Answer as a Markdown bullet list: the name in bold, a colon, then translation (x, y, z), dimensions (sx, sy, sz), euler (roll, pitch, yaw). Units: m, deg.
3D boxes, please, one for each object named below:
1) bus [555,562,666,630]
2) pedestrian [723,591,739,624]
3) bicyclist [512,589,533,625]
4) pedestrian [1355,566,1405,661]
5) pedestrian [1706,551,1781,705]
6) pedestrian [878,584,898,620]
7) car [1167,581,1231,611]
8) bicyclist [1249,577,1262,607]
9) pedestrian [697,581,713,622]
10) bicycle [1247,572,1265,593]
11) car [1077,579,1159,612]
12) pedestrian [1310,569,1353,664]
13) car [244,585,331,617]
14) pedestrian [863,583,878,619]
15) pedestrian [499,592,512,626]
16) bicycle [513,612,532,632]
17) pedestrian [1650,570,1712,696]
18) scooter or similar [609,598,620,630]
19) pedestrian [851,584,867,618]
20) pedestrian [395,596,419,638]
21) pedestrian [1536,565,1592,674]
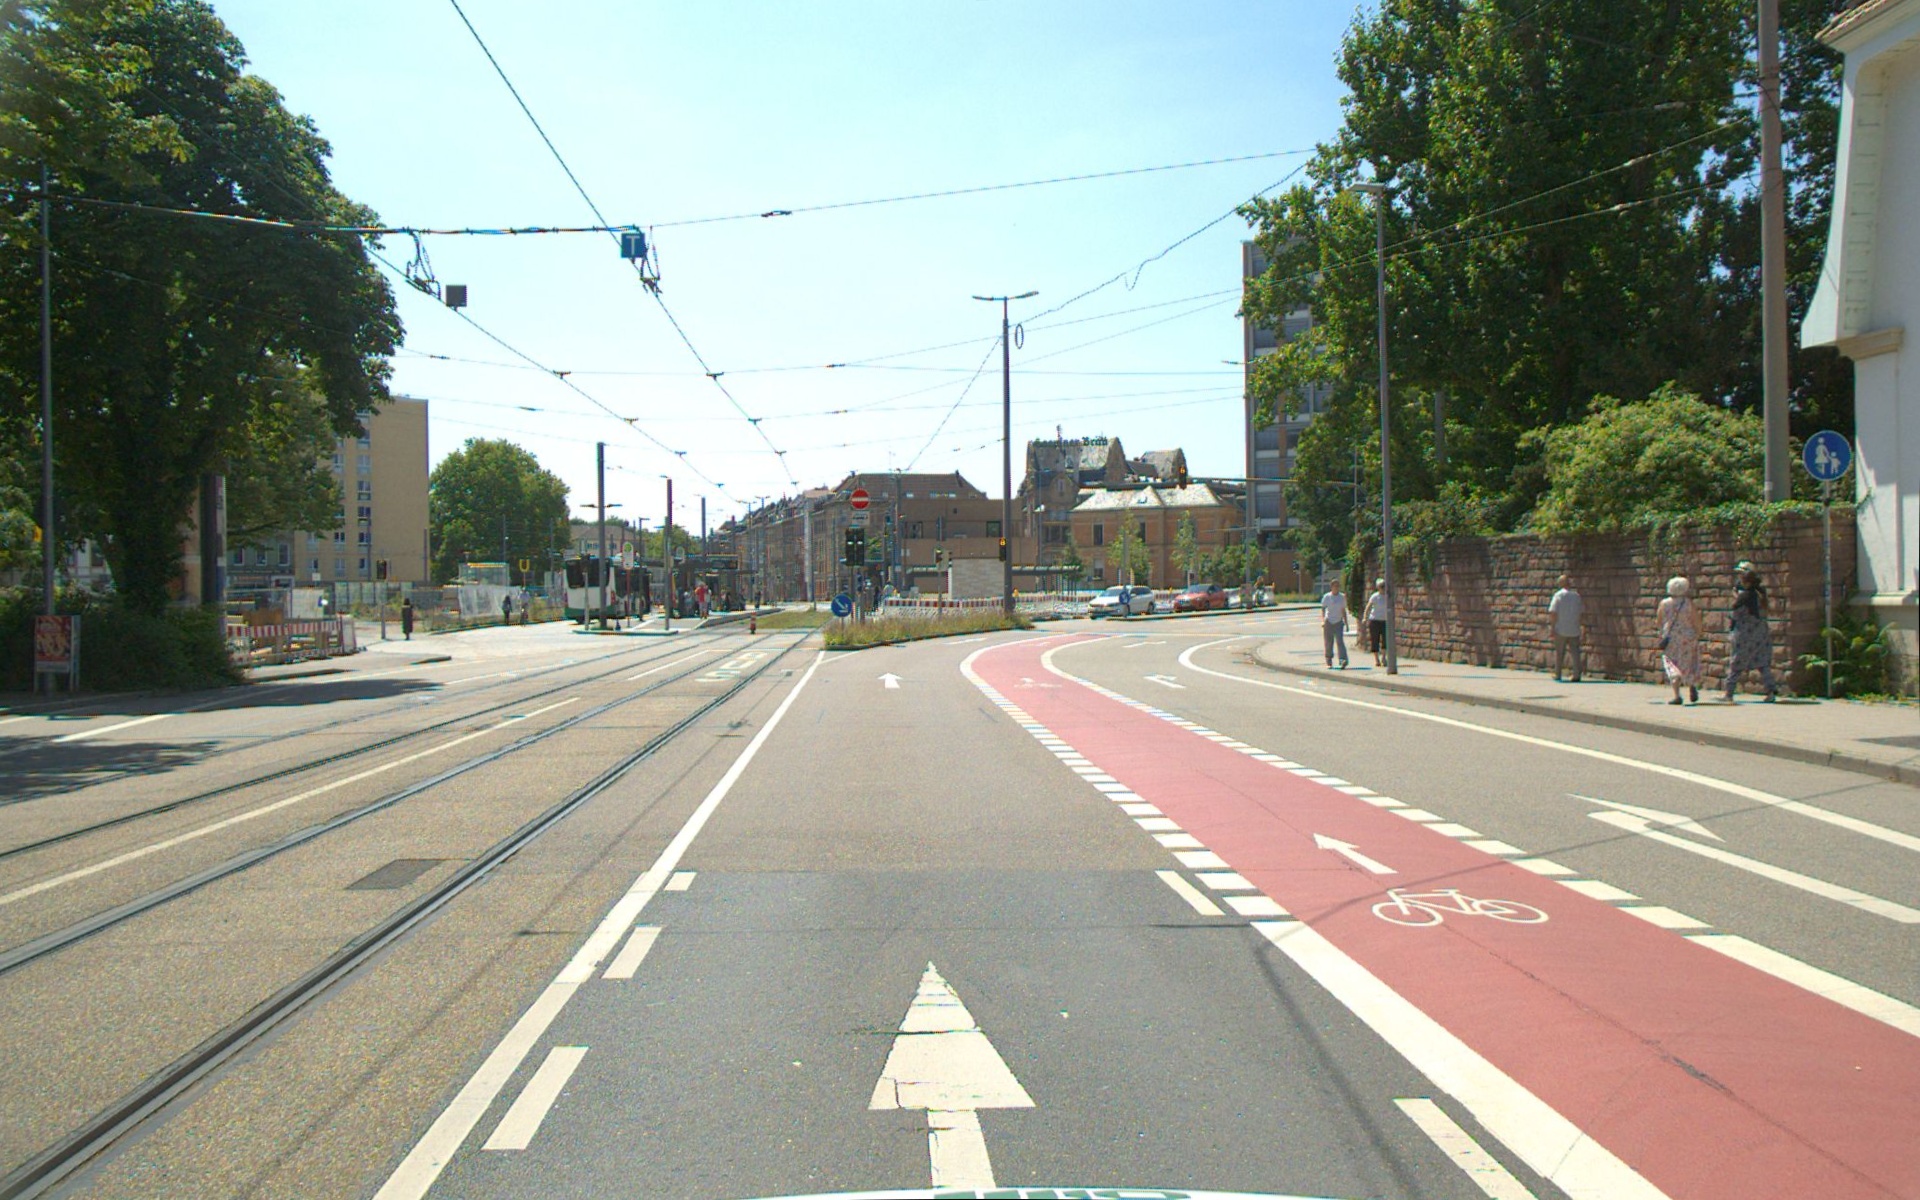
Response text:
- **bus**: translation (-18.498, -0.244, 89.039), dimensions (2.950, 3.213, 17.489), euler (-1, 0, -2)
- **pedestrian**: translation (-14.902, 0.488, 107.486), dimensions (0.880, 2.133, 0.832), euler (-1, 0, 2)
- **bicyclist**: translation (-21.287, 0.328, 80.483), dimensions (0.805, 1.739, 0.769), euler (-1, 0, -6)
- **pedestrian**: translation (8.313, 0.267, 32.767), dimensions (0.797, 1.839, 0.700), euler (-1, 0, 1)
- **pedestrian**: translation (9.656, 0.357, 20.393), dimensions (0.614, 1.804, 0.719), euler (4, -5, 14)
- **pedestrian**: translation (-3.801, 0.097, 87.320), dimensions (0.761, 1.897, 0.718), euler (0, -1, -44)
- **car**: translation (12.299, -0.211, 84.956), dimensions (1.700, 1.450, 4.112), euler (-1, 0, 33)
- **bicyclist**: translation (17.438, -0.463, 97.505), dimensions (0.558, 1.749, 0.505), euler (-1, 0, 38)
- **pedestrian**: translation (-12.010, 0.072, 77.909), dimensions (0.661, 1.943, 0.638), euler (-1, 0, -13)
- **bicycle**: translation (17.442, -1.010, 97.499), dimensions (0.391, 1.194, 1.765), euler (-2, -2, 34)
- **car**: translation (7.375, -0.227, 76.891), dimensions (1.957, 1.463, 4.694), euler (-1, 0, 31)
- **pedestrian**: translation (7.315, 0.327, 32.611), dimensions (0.663, 1.839, 0.748), euler (-1, 0, 1)
- **car**: translation (-37.146, 0.033, 91.390), dimensions (4.093, 1.678, 1.853), euler (-1, 0, 9)
- **pedestrian**: translation (-4.617, 0.039, 85.496), dimensions (0.645, 1.864, 0.758), euler (-1, 0, -10)
- **pedestrian**: translation (-22.968, 0.449, 83.587), dimensions (0.556, 1.735, 0.396), euler (-1, 0, -11)
- **bicycle**: translation (-21.266, 1.060, 80.449), dimensions (0.493, 0.930, 2.368), euler (-1, 1, -5)
- **pedestrian**: translation (9.045, 0.406, 20.759), dimensions (0.505, 1.559, 0.598), euler (-1, 0, 2)
- **scooter or similar**: translation (-13.536, 0.530, 64.826), dimensions (0.312, 1.227, 1.246), euler (-1, 0, -8)
- **pedestrian**: translation (-5.180, 0.062, 84.676), dimensions (0.714, 1.736, 0.741), euler (0, -1, -15)
- **pedestrian**: translation (-21.994, 0.672, 65.820), dimensions (0.593, 1.630, 0.826), euler (-1, 0, 7)
- **pedestrian**: translation (9.461, 0.294, 25.914), dimensions (0.647, 1.676, 0.624), euler (-1, 0, 2)
